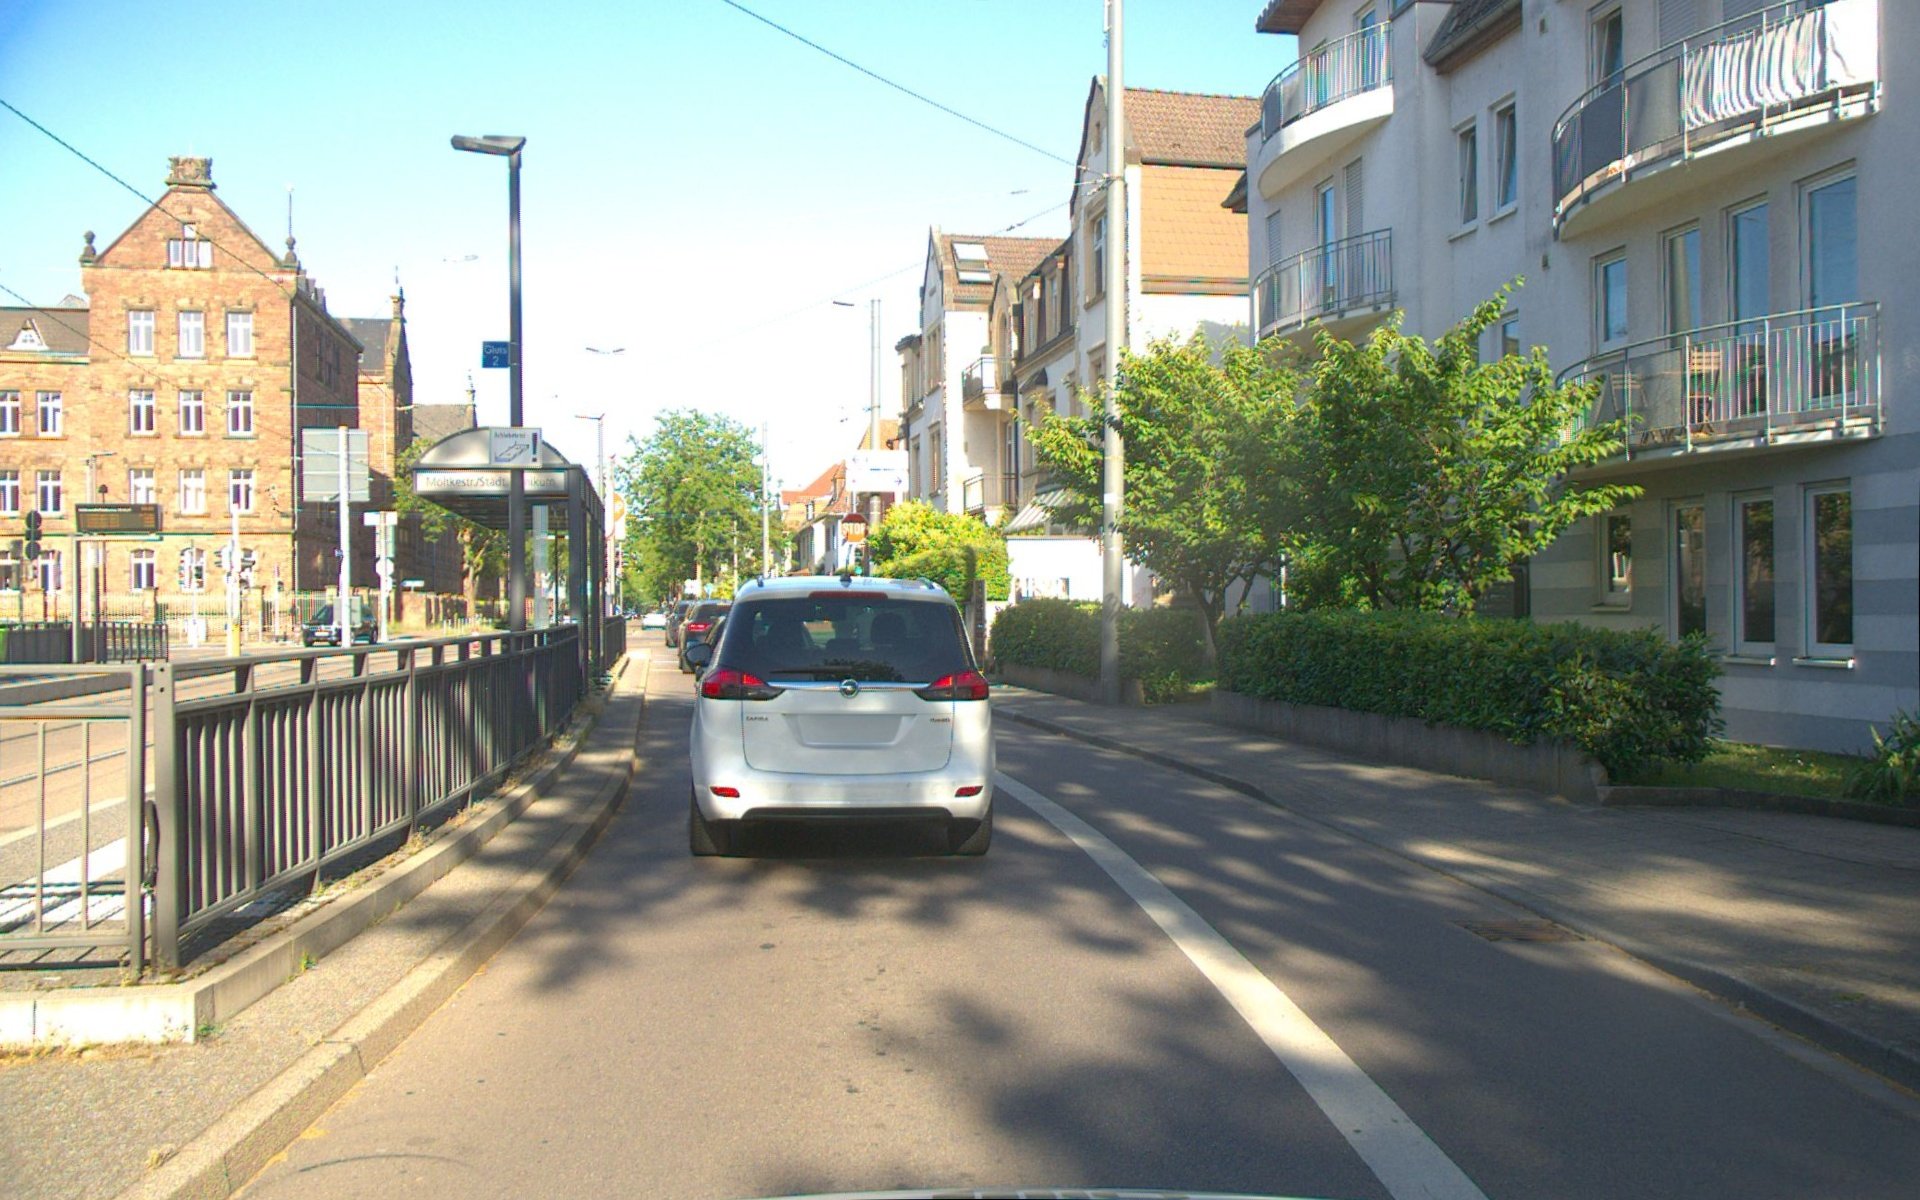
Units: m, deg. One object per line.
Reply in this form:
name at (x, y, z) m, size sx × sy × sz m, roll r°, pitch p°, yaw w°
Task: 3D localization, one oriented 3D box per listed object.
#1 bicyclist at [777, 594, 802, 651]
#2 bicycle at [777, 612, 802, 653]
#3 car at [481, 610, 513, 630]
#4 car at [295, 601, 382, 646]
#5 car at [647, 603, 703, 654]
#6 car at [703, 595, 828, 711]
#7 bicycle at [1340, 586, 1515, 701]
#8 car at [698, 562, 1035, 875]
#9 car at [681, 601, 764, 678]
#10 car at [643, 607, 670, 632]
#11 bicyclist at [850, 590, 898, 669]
bicyclist at (-5.054, 0.669, 48.998) m, size 0.673 × 1.663 × 1.013 m, roll 0°, pitch -1°, yaw -8°
bicycle at (-5.034, 0.950, 48.894) m, size 0.673 × 1.177 × 1.616 m, roll 0°, pitch -1°, yaw -8°
car at (-37.631, 1.643, 134.421) m, size 1.956 × 1.624 × 3.992 m, roll 0°, pitch -1°, yaw -8°
car at (-24.449, 0.909, 65.208) m, size 1.868 × 1.706 × 4.356 m, roll 0°, pitch 0°, yaw -1°
car at (-9.585, 0.948, 55.759) m, size 1.743 × 1.660 × 3.873 m, roll 0°, pitch -1°, yaw -8°
car at (-2.764, 0.671, 23.032) m, size 1.557 × 1.445 × 3.892 m, roll -1°, pitch 0°, yaw -8°
bicycle at (5.658, 0.520, 20.071) m, size 1.808 × 1.224 × 0.823 m, roll -4°, pitch 0°, yaw -12°
car at (-0.797, 0.651, 10.914) m, size 1.801 × 1.671 × 3.909 m, roll 0°, pitch -1°, yaw -10°
car at (-5.523, 0.881, 38.151) m, size 1.744 × 1.660 × 3.871 m, roll 0°, pitch -1°, yaw -10°
car at (-21.159, 1.369, 115.435) m, size 1.743 × 1.722 × 3.873 m, roll 0°, pitch -1°, yaw -8°
bicyclist at (-1.681, 0.569, 32.296) m, size 0.806 × 1.528 × 0.932 m, roll 0°, pitch -1°, yaw -11°
